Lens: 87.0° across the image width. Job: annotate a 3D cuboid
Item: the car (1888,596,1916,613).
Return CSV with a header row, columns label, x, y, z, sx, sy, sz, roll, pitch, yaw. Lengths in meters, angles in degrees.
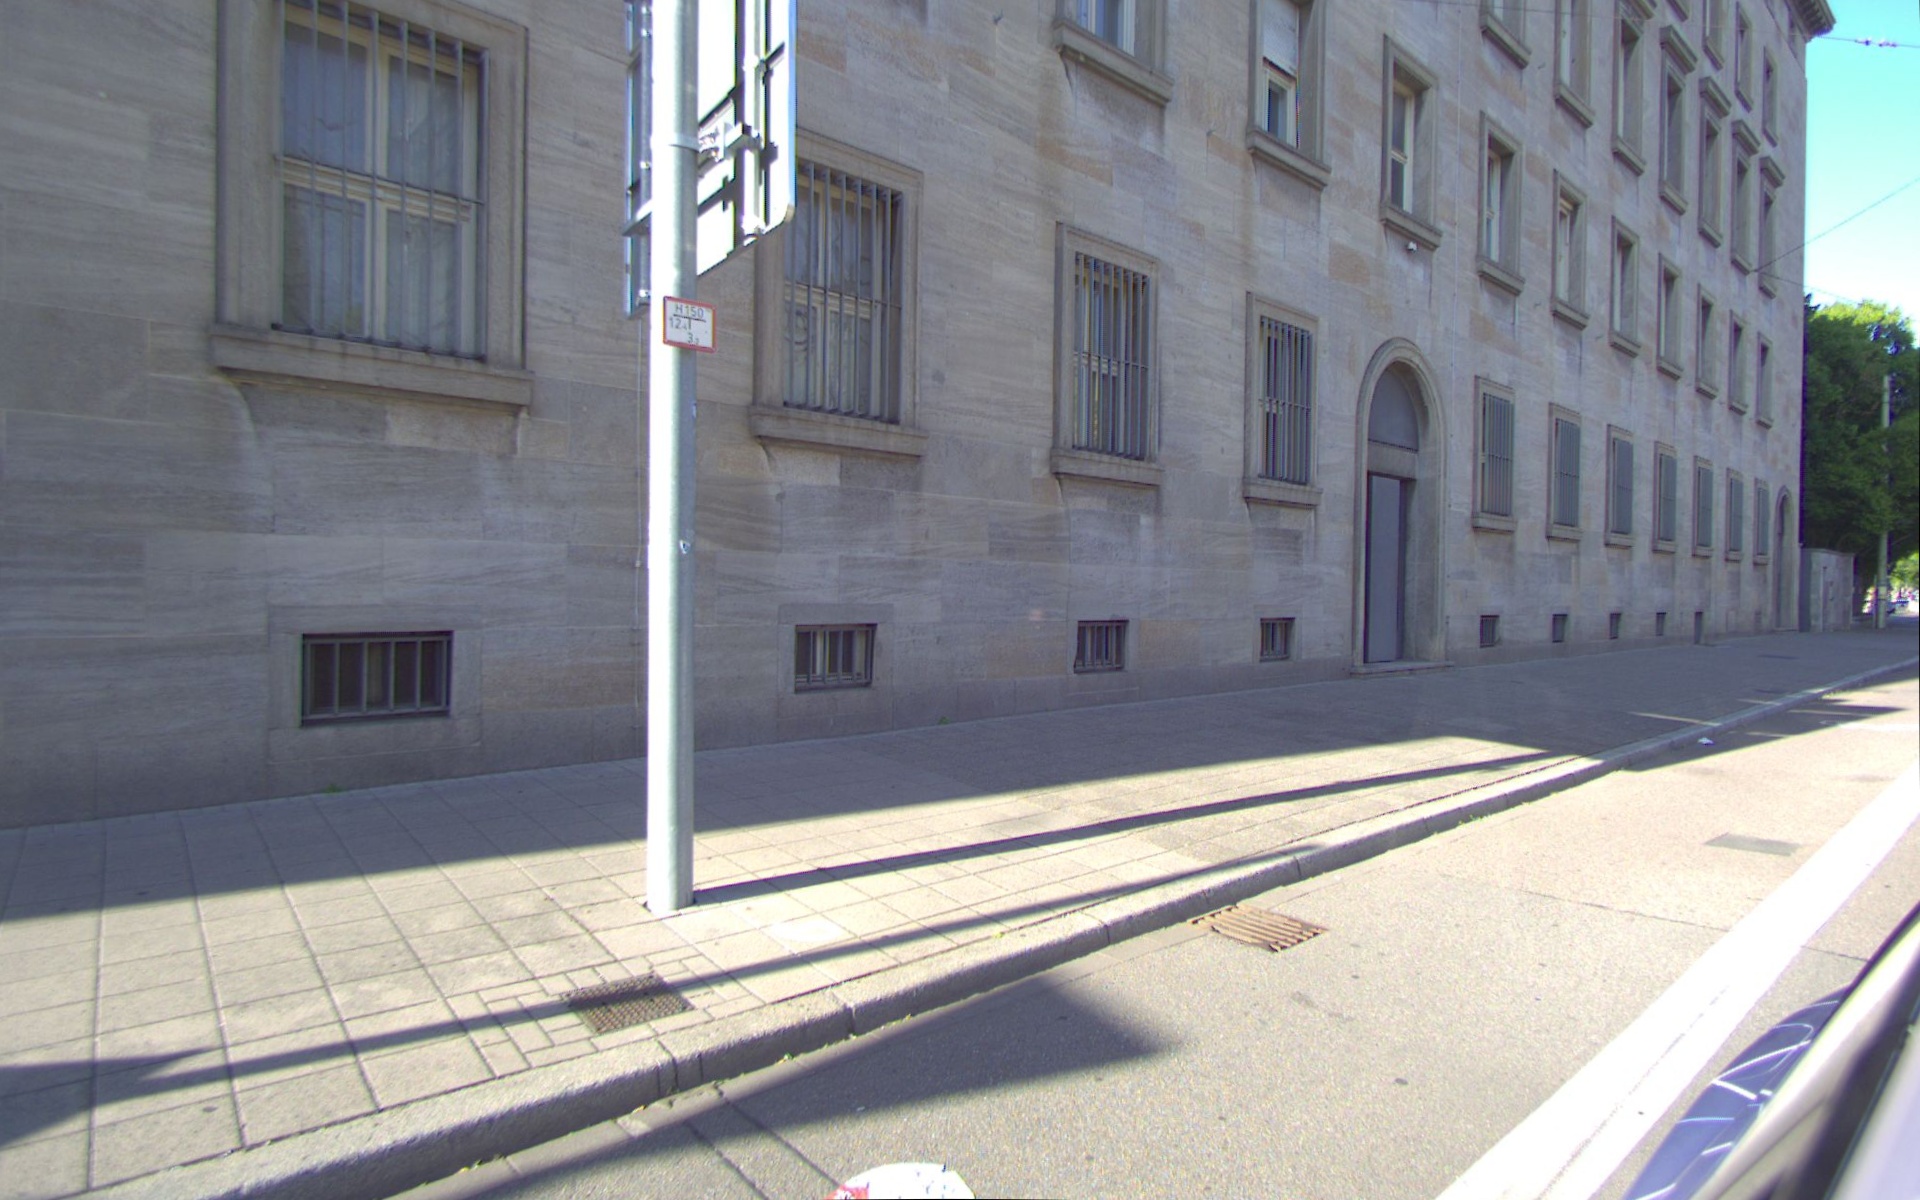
label,x,y,z,sx,sy,sz,roll,pitch,yaw
car,104.675,0.508,112.461,1.991,1.794,3.943,2,1,39
